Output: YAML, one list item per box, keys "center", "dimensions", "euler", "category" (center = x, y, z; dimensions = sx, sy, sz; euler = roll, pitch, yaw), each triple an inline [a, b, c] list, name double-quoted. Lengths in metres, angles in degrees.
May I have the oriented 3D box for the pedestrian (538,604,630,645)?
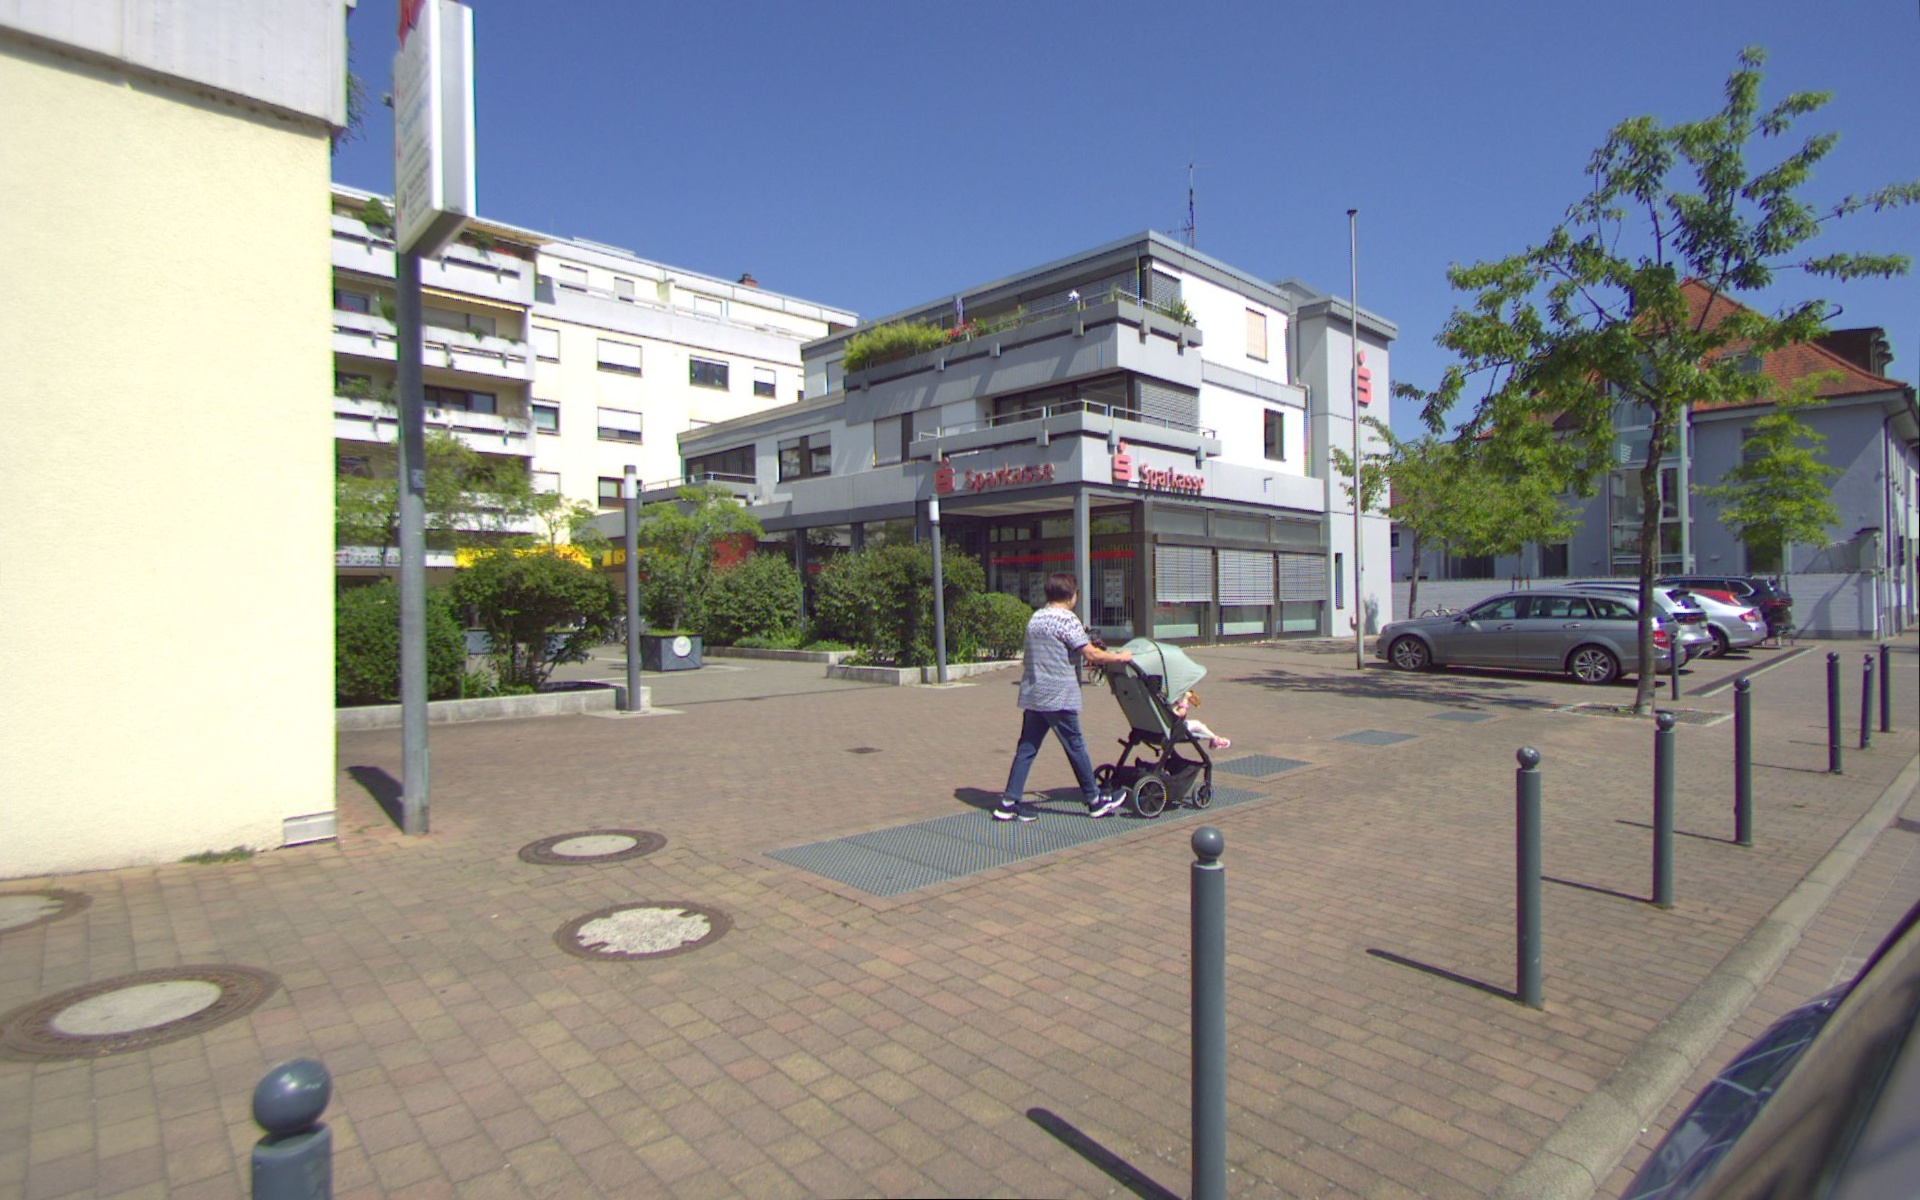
- center: [-12.438, 0.784, 33.574]
  dimensions: [0.982, 1.290, 2.736]
  euler: [-1, 0, 40]
  category: "pedestrian"

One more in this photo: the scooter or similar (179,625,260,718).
- center: [-9.222, 0.872, 12.623]
  dimensions: [0.578, 1.088, 0.807]
  euler: [-1, 0, -17]
  category: "scooter or similar"

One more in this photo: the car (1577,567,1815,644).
- center: [18.730, 0.077, 25.909]
  dimensions: [2.112, 1.793, 4.635]
  euler: [0, 1, -43]
  category: "car"

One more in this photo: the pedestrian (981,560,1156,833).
- center: [0.662, 0.538, 6.231]
  dimensions: [0.786, 1.540, 0.706]
  euler: [0, 0, -36]
  category: "pedestrian"

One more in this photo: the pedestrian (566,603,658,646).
- center: [-11.342, 0.781, 33.046]
  dimensions: [0.982, 1.290, 2.736]
  euler: [-1, 0, 40]
  category: "pedestrian"

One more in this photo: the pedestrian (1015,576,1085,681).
- center: [1.348, 0.407, 15.157]
  dimensions: [0.795, 1.516, 0.670]
  euler: [-1, 0, -29]
  category: "pedestrian"

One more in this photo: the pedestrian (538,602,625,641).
- center: [-13.205, 0.721, 35.426]
  dimensions: [0.982, 1.290, 2.736]
  euler: [-1, 0, 40]
  category: "pedestrian"

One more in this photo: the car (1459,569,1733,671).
- center: [11.748, 0.279, 18.862]
  dimensions: [1.827, 1.592, 3.990]
  euler: [-1, 3, -45]
  category: "car"

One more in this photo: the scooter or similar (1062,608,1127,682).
- center: [2.056, 0.668, 15.478]
  dimensions: [0.789, 1.088, 0.592]
  euler: [-1, 0, -28]
  category: "scooter or similar"

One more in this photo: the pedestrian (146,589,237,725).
- center: [-8.977, 0.641, 11.847]
  dimensions: [0.606, 1.516, 0.813]
  euler: [-1, 0, -17]
  category: "pedestrian"

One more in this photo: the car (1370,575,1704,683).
- center: [9.529, 0.367, 16.966]
  dimensions: [4.575, 1.531, 1.887]
  euler: [2, 2, 43]
  category: "car"

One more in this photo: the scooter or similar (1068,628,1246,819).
- center: [1.313, 0.763, 6.714]
  dimensions: [1.024, 1.120, 0.627]
  euler: [-1, 0, -37]
  category: "scooter or similar"

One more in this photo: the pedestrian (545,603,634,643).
- center: [-12.687, 0.753, 34.753]
  dimensions: [0.982, 1.290, 2.736]
  euler: [-1, 0, 40]
  category: "pedestrian"
